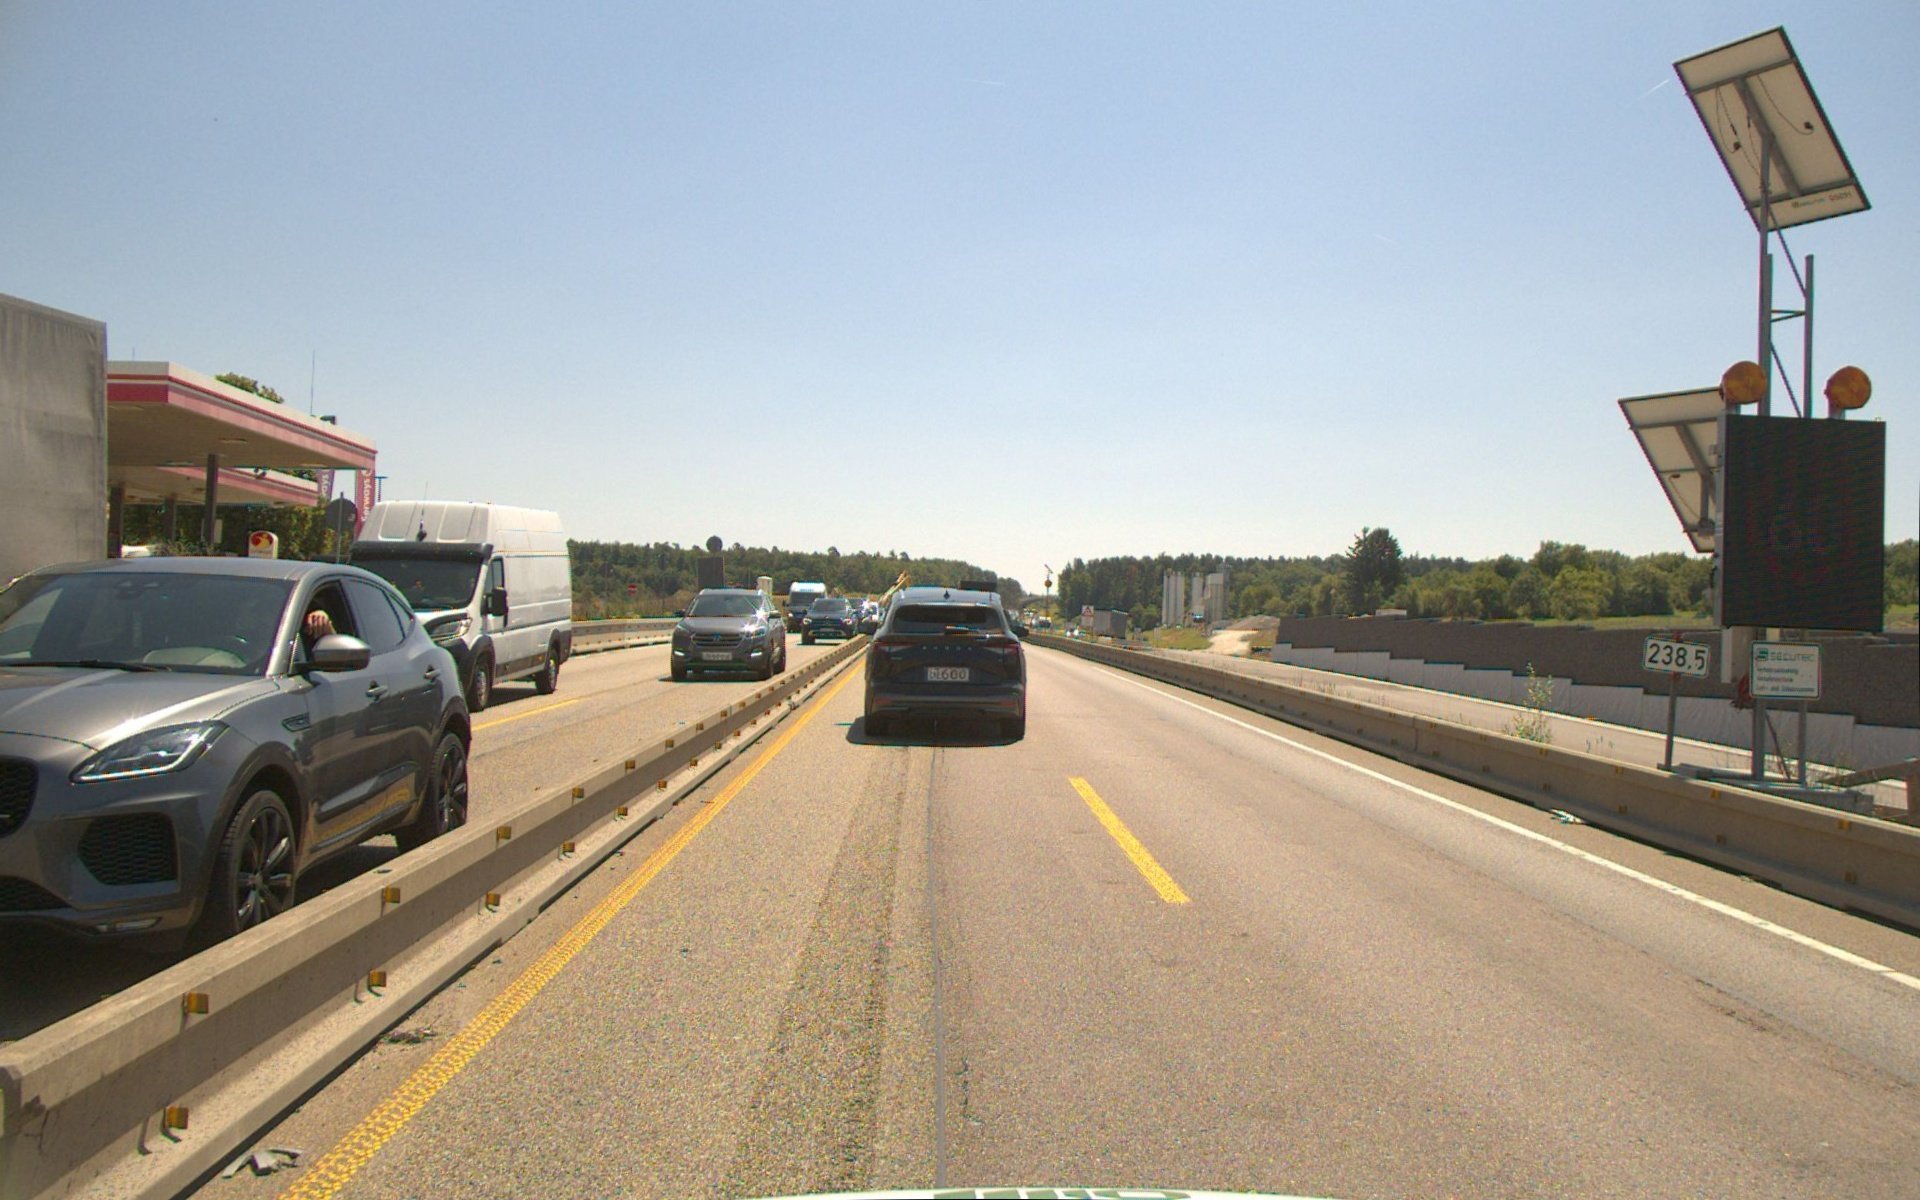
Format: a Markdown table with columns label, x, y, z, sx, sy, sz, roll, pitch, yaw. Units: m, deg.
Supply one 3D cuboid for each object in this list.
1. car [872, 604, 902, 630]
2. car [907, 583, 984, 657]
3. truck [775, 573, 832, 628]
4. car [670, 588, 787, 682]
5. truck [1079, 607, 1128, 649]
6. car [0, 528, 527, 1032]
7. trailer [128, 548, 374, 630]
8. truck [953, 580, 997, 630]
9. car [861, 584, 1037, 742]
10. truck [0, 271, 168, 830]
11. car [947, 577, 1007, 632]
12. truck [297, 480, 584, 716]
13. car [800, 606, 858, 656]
| label | x | y | z | sx | sy | sz | roll | pitch | yaw |
| --- | --- | --- | --- | --- | --- | --- | --- | --- | --- |
| car | -4.957 | 1.144 | 113.124 | 1.866 | 1.637 | 3.999 | 2 | 0 | -1 |
| car | -0.466 | 0.567 | 46.575 | 1.954 | 1.876 | 3.998 | 3 | -1 | -2 |
| truck | -8.529 | 0.053 | 91.057 | 2.429 | 2.874 | 8.127 | 1 | 0 | -1 |
| car | -4.330 | 0.622 | 31.485 | 1.900 | 1.639 | 3.996 | 1 | 0 | -4 |
| truck | 17.162 | 3.395 | 196.839 | 3.405 | 4.292 | 10.380 | 7 | -1 | 17 |
| car | -3.615 | 0.594 | 7.905 | 1.902 | 1.687 | 4.744 | 1 | 0 | -1 |
| trailer | -39.426 | -0.465 | 92.921 | 3.088 | 4.183 | 14.151 | 0 | -1 | 25 |
| truck | 0.912 | 0.310 | 103.425 | 2.618 | 2.997 | 5.620 | 1 | 0 | 0 |
| car | -0.123 | 0.657 | 19.305 | 1.805 | 1.609 | 4.000 | 1 | 0 | 0 |
| truck | -6.935 | -0.300 | 8.007 | 2.444 | 3.349 | 8.115 | 1 | 0 | -1 |
| car | 1.551 | 0.424 | 143.550 | 3.365 | 4.171 | 9.203 | 6 | -1 | 10 |
| truck | -7.095 | -0.028 | 23.505 | 2.194 | 2.835 | 6.489 | 1 | 0 | -2 |
| car | -4.690 | 1.086 | 59.763 | 1.818 | 1.631 | 4.734 | 1 | 0 | -2 |
